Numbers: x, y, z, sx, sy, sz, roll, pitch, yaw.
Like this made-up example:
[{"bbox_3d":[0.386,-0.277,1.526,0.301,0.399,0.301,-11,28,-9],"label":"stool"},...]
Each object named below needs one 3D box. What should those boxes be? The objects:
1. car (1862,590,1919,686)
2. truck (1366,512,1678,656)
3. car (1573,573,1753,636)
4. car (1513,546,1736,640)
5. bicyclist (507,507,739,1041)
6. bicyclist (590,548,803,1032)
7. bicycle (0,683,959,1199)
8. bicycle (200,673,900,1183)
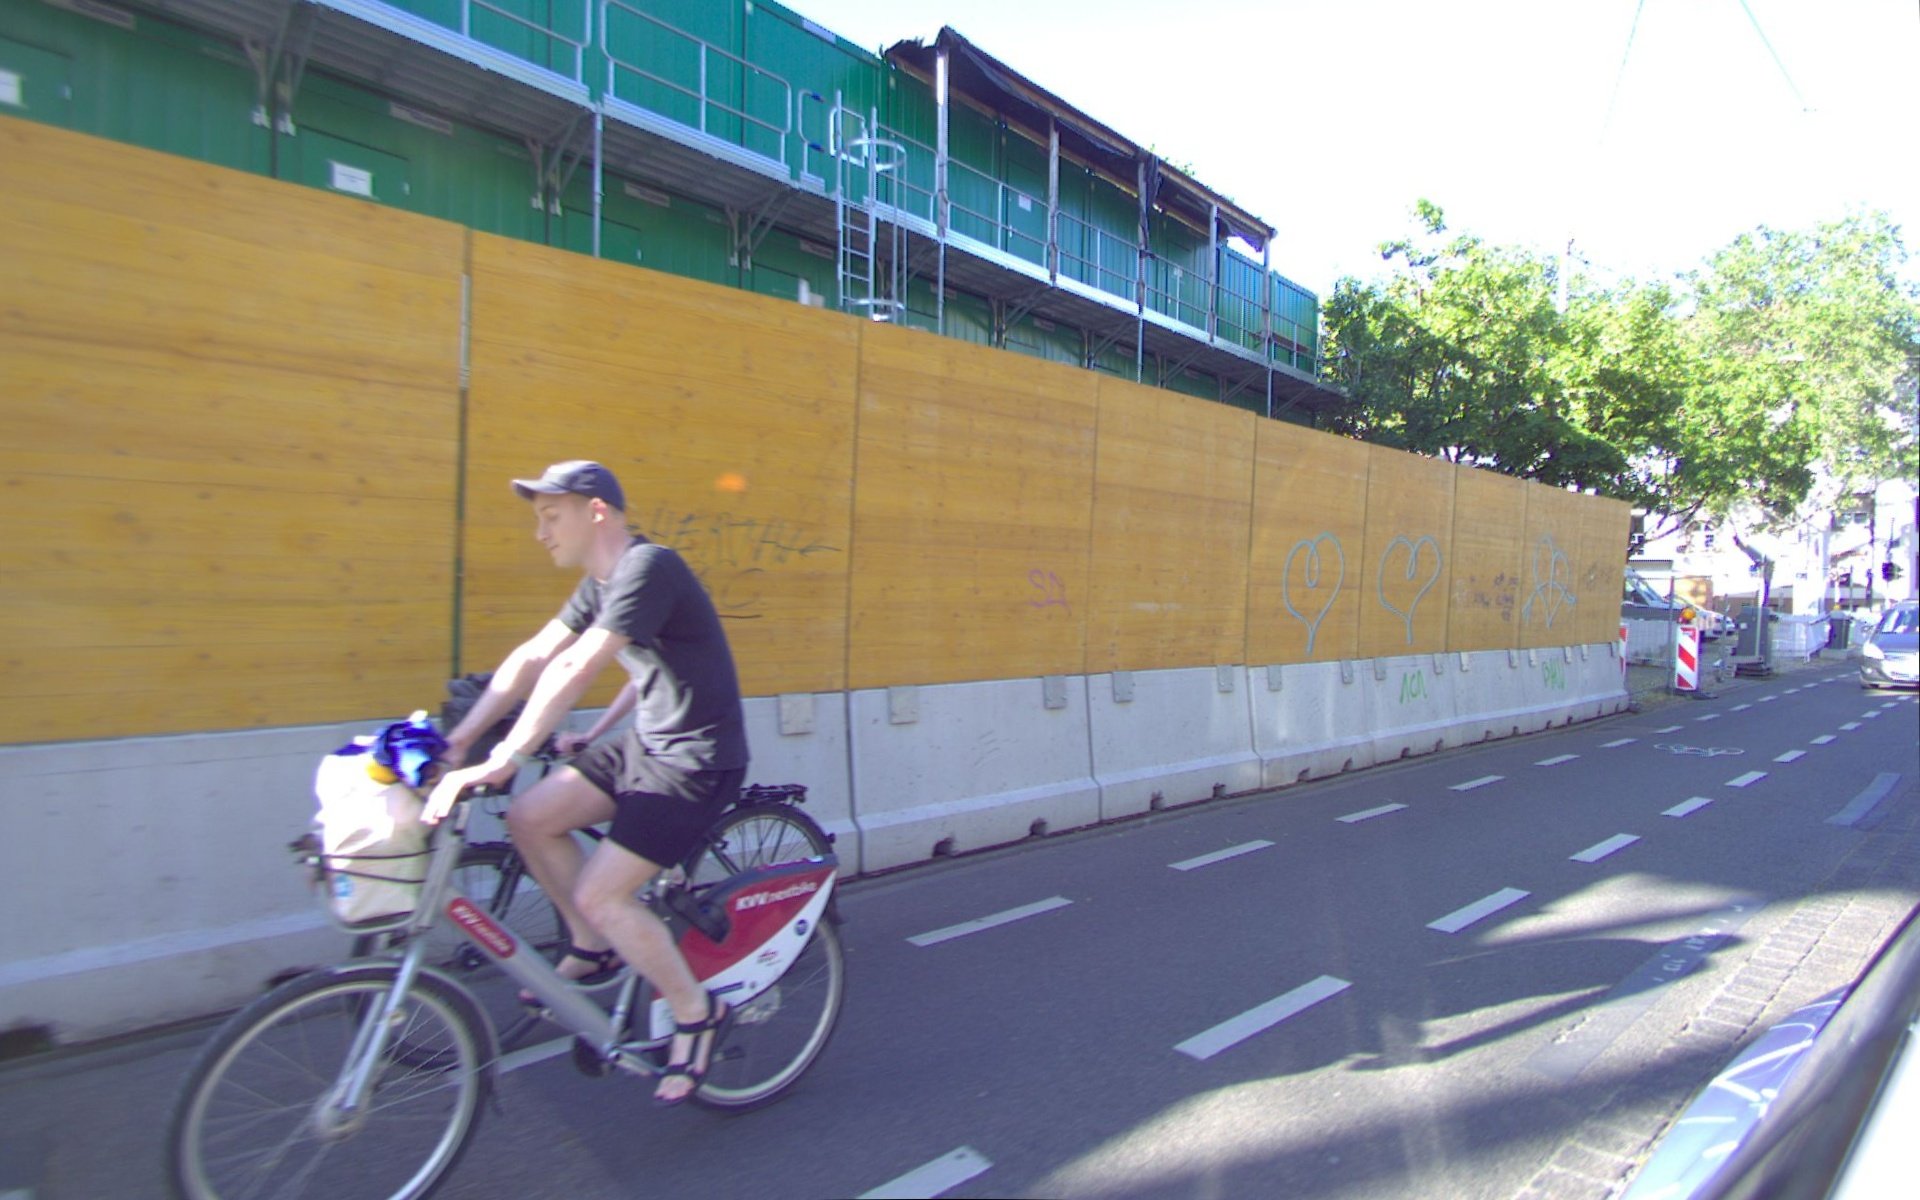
[{"bbox_3d":[18.066,0.659,18.498,4.095,1.642,1.749,0,0,-39],"label":"car"},{"bbox_3d":[15.088,-0.477,27.712,2.330,3.461,7.086,0,2,-41],"label":"truck"},{"bbox_3d":[24.359,0.138,35.215,1.963,2.035,4.796,0,0,-37],"label":"car"},{"bbox_3d":[20.044,-0.263,30.757,1.979,2.594,5.331,0,2,-41],"label":"car"},{"bbox_3d":[-0.924,0.401,2.732,0.347,1.253,0.652,0,1,-43],"label":"bicyclist"},{"bbox_3d":[-0.995,0.633,3.809,0.567,1.633,0.557,0,1,-43],"label":"bicyclist"},{"bbox_3d":[-1.068,0.882,2.648,2.236,1.169,0.668,0,-1,-41],"label":"bicycle"},{"bbox_3d":[-1.246,0.908,3.564,2.238,1.141,0.557,0,1,-44],"label":"bicycle"}]
